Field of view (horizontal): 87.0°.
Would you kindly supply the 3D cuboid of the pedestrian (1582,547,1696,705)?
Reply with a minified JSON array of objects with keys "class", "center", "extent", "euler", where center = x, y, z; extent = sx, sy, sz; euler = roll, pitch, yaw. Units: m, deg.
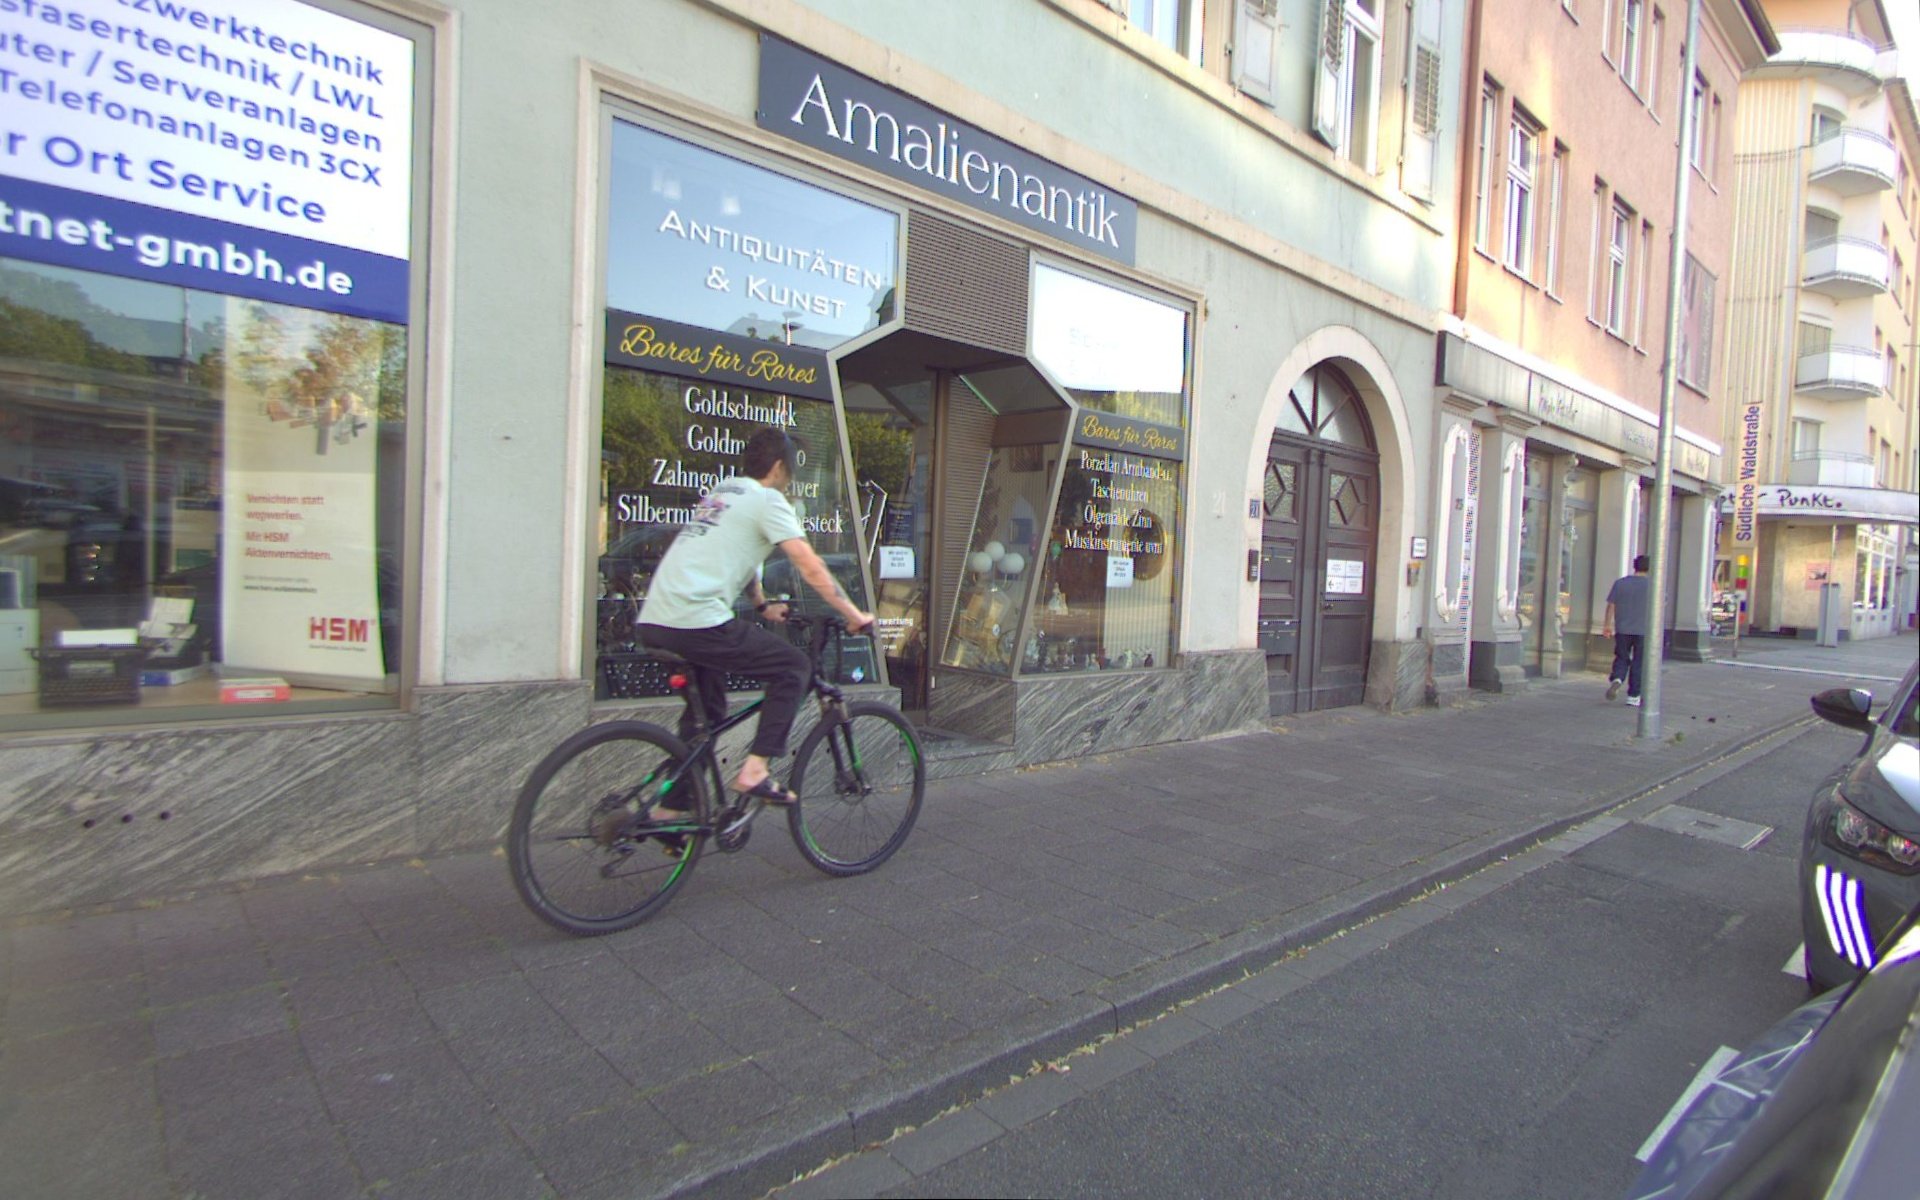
[{"class":"pedestrian","center":[7.597,0.262,11.323],"extent":[0.857,1.662,0.824],"euler":[0,3,-43]}]

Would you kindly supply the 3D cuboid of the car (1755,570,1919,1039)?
[{"class":"car","center":[5.015,0.673,4.221],"extent":[4.373,1.464,1.907],"euler":[0,2,-42]}]

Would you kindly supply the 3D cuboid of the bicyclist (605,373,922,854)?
[{"class":"bicyclist","center":[-0.734,0.031,3.771],"extent":[0.884,1.526,0.723],"euler":[1,2,-40]}]

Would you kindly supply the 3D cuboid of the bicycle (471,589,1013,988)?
[{"class":"bicycle","center":[-0.724,0.543,3.786],"extent":[1.863,1.121,0.691],"euler":[0,2,-42]}]
